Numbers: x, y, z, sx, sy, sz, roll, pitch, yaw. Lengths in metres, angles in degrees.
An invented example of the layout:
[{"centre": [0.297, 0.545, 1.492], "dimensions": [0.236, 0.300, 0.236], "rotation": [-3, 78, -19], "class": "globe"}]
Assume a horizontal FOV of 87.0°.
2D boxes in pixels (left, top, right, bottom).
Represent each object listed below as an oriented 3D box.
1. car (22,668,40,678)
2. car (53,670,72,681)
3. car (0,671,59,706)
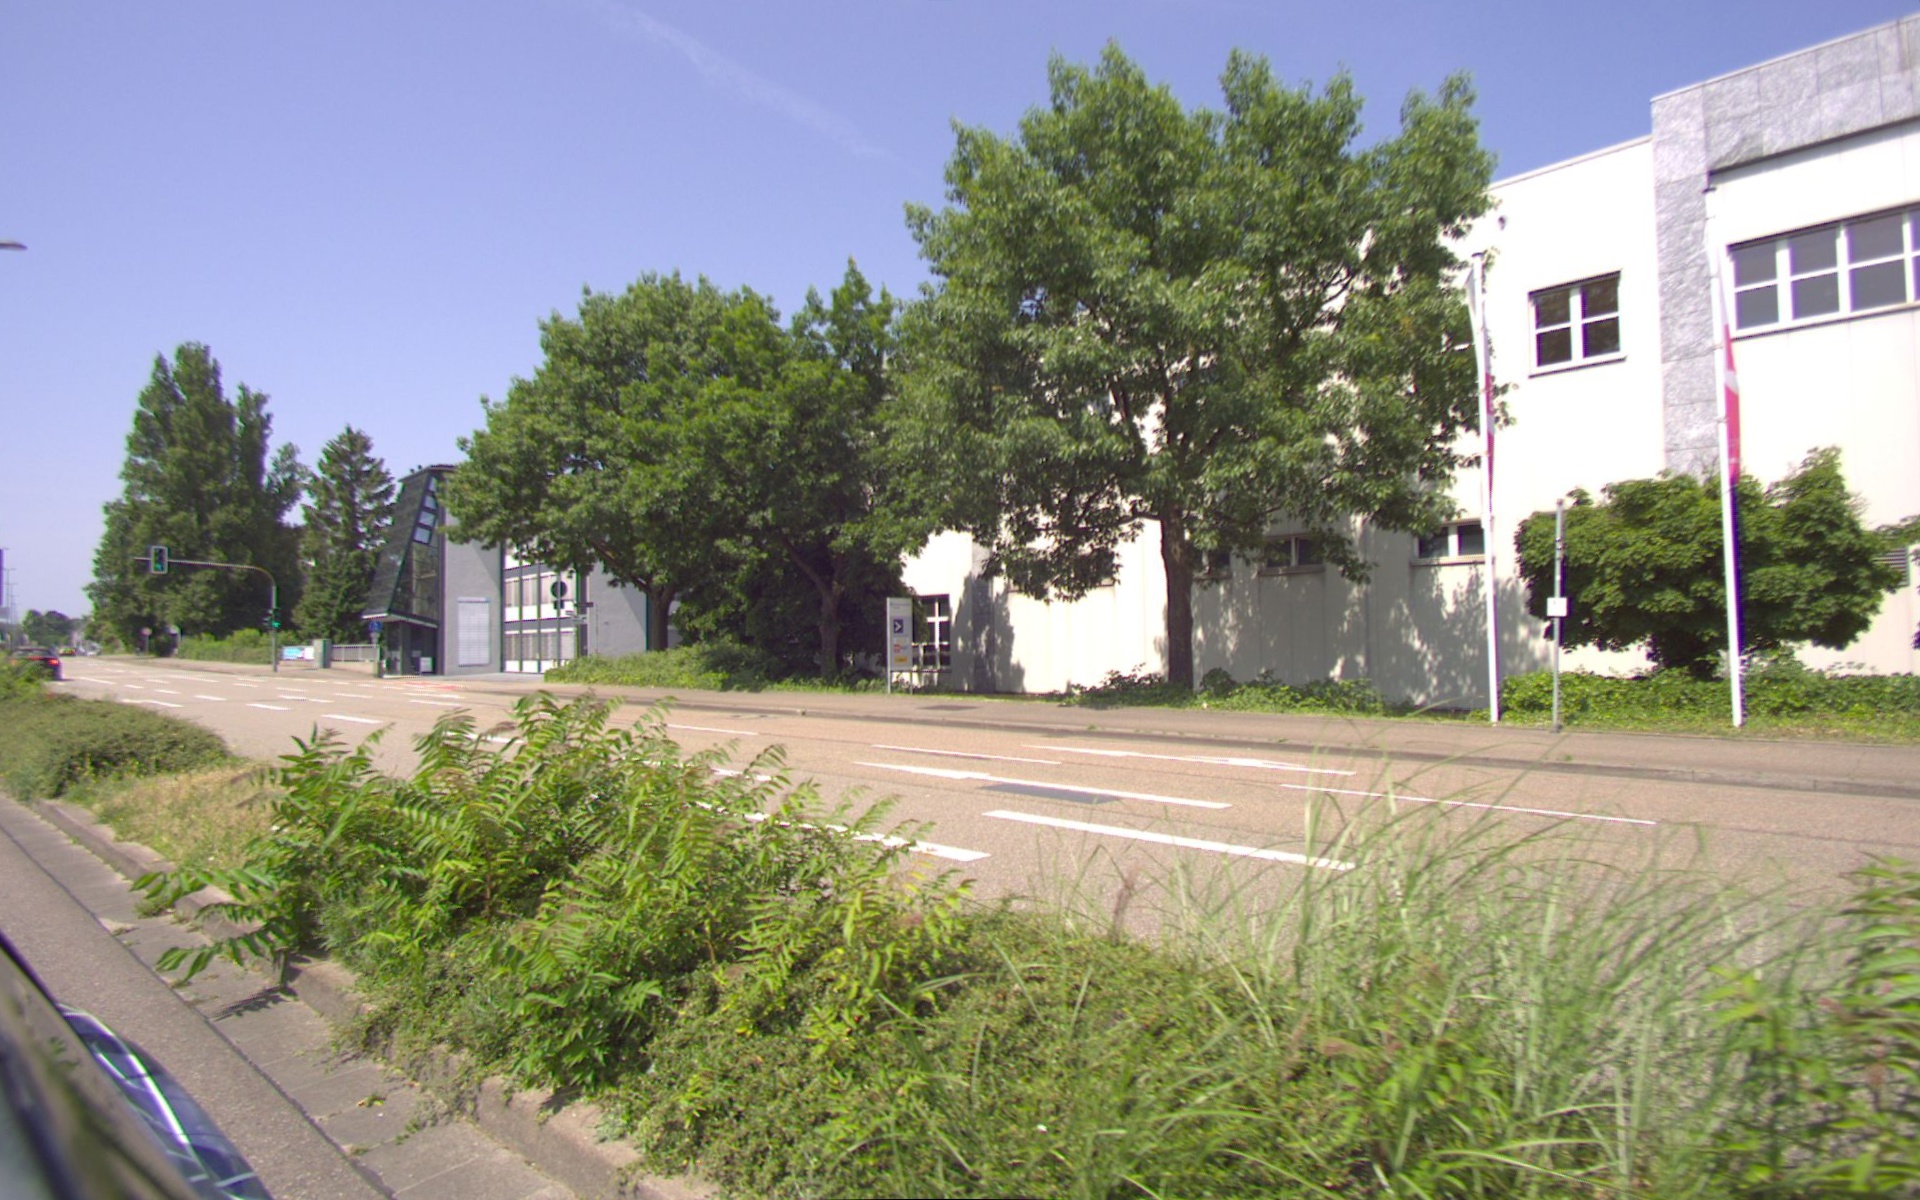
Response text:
[{"centre": [-143.999, 11.331, 156.885], "dimensions": [4.092, 1.430, 1.740], "rotation": [-4, -6, 44], "class": "car"}, {"centre": [-136.991, 11.548, 154.500], "dimensions": [4.288, 1.572, 1.872], "rotation": [-3, -5, 44], "class": "car"}, {"centre": [-38.623, 3.623, 41.751], "dimensions": [4.148, 1.334, 1.710], "rotation": [-3, -4, 42], "class": "car"}]
